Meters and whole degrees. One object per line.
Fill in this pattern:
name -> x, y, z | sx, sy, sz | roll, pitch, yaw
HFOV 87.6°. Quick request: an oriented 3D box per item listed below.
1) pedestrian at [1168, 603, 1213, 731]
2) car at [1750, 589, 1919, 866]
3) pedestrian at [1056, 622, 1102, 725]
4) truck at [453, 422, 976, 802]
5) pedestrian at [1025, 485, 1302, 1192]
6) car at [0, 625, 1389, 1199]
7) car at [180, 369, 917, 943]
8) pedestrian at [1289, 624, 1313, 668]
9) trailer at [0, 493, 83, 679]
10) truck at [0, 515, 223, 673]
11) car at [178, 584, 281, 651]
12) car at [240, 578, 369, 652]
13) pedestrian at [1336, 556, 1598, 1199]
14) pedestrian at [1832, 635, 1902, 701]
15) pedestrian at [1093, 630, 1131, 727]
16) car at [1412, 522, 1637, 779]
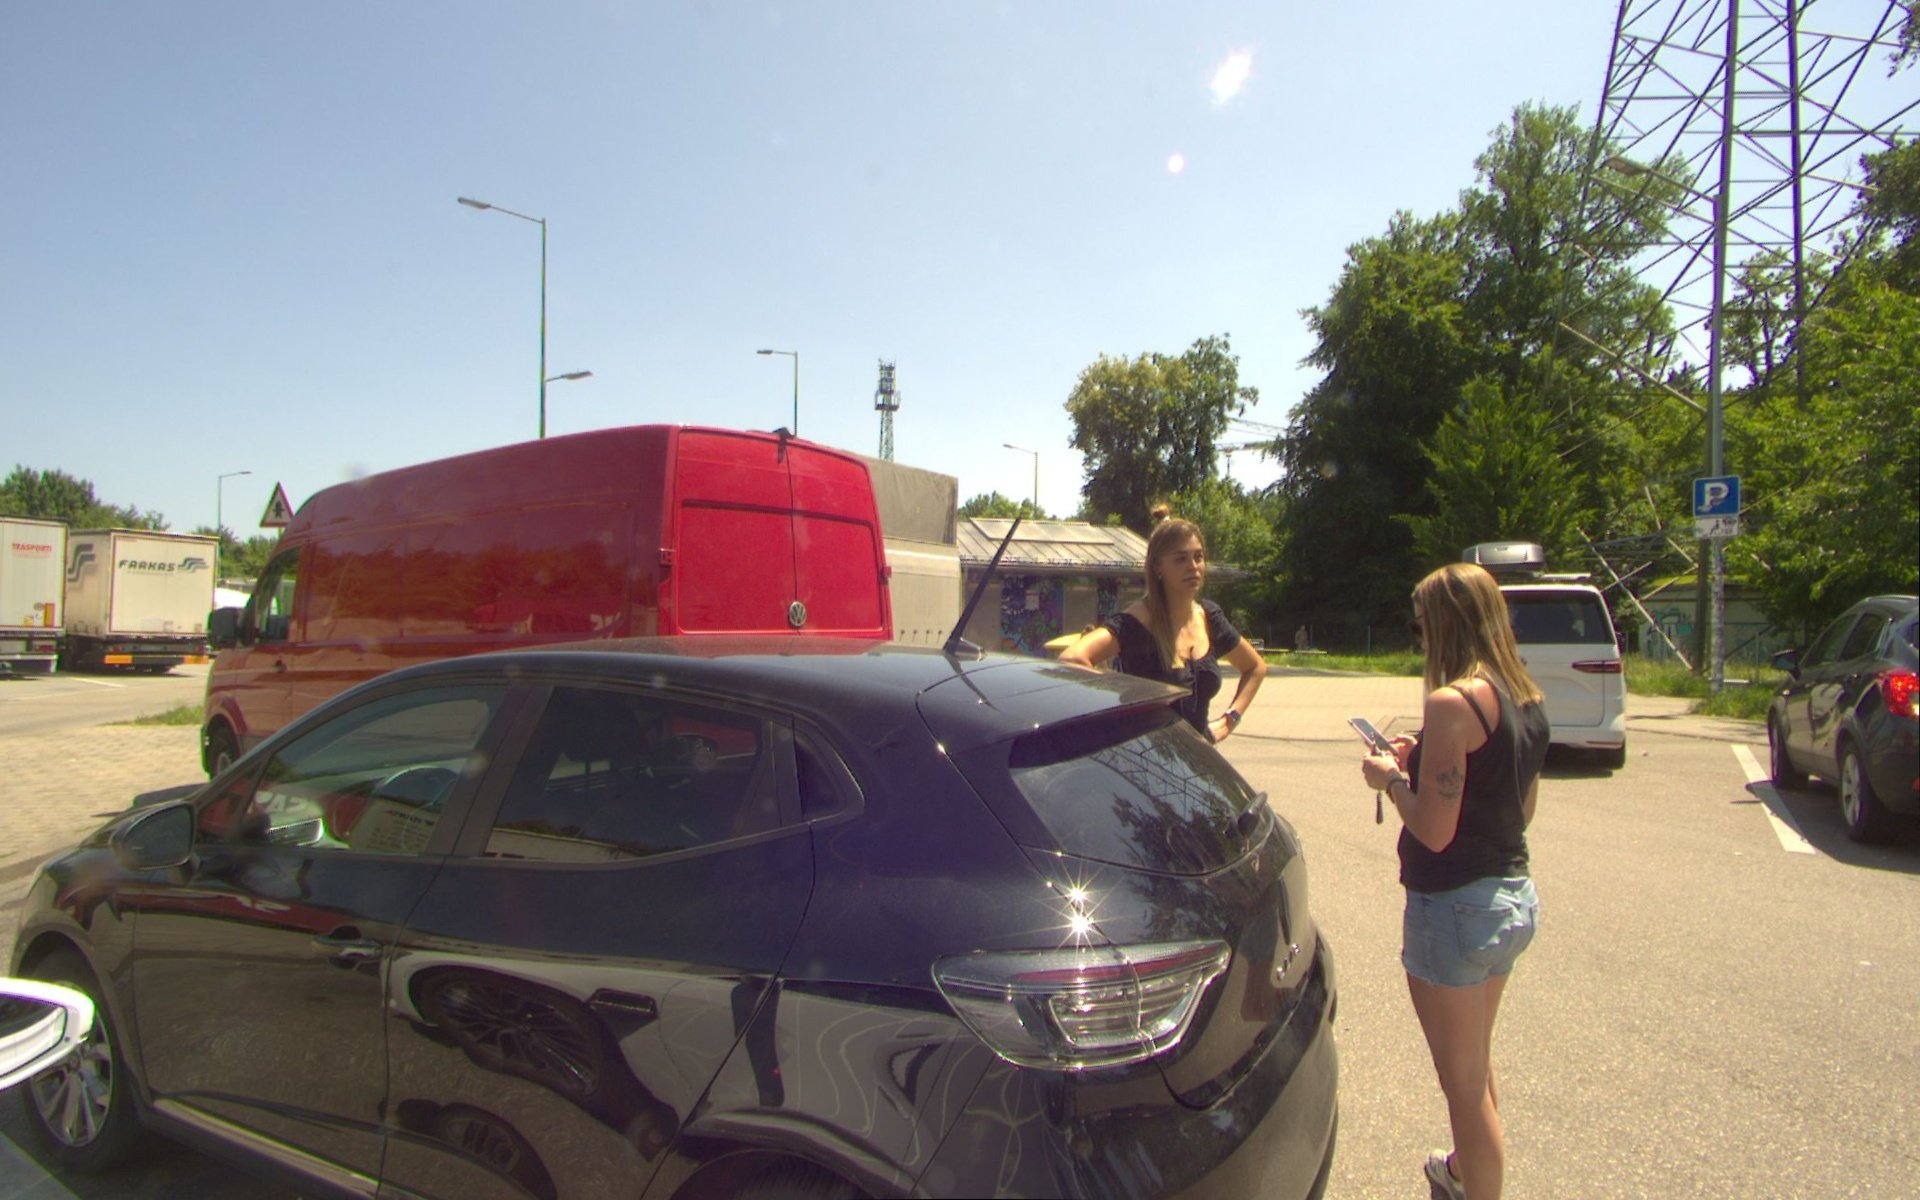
pedestrian -> 3.307, 0.936, 14.357 | 0.520, 1.783, 0.651 | 0, 0, 23
car -> 7.341, 0.808, 7.347 | 1.811, 1.638, 4.150 | 0, -1, 30
pedestrian -> 1.765, 1.070, 14.825 | 0.521, 1.478, 0.576 | 0, 0, 23
truck -> -2.505, 0.173, 9.928 | 4.751, 2.863, 2.514 | -1, -2, 34
pedestrian -> 0.673, 0.648, 3.178 | 0.481, 1.884, 0.906 | 0, -1, 39
car -> -0.818, 0.829, 2.797 | 3.627, 1.476, 1.776 | -1, -2, 26
car -> -3.398, 0.287, 7.336 | 6.298, 2.668, 1.988 | 0, -1, 36
pedestrian -> 16.217, 2.184, 47.664 | 0.955, 2.039, 0.829 | 0, -1, 10
trailer -> -28.551, -0.347, 27.836 | 12.642, 4.511, 2.677 | 0, -1, 32
truck -> -27.142, 0.000, 31.226 | 11.800, 4.279, 2.582 | -1, -2, 32
car -> -29.935, 0.748, 41.024 | 3.943, 2.632, 2.111 | -1, -2, 32
car -> -29.465, 0.666, 44.941 | 6.259, 3.114, 2.495 | 0, -1, 32
pedestrian -> 1.165, 0.727, 2.317 | 0.478, 1.615, 0.501 | 0, 0, 29
pedestrian -> 16.612, 1.234, 18.354 | 0.694, 1.178, 0.787 | -1, -1, 22
pedestrian -> 2.210, 1.126, 14.554 | 0.439, 1.362, 0.477 | 0, 0, 23
car -> 6.695, 0.532, 12.003 | 1.901, 2.401, 4.954 | 1, -1, 29
